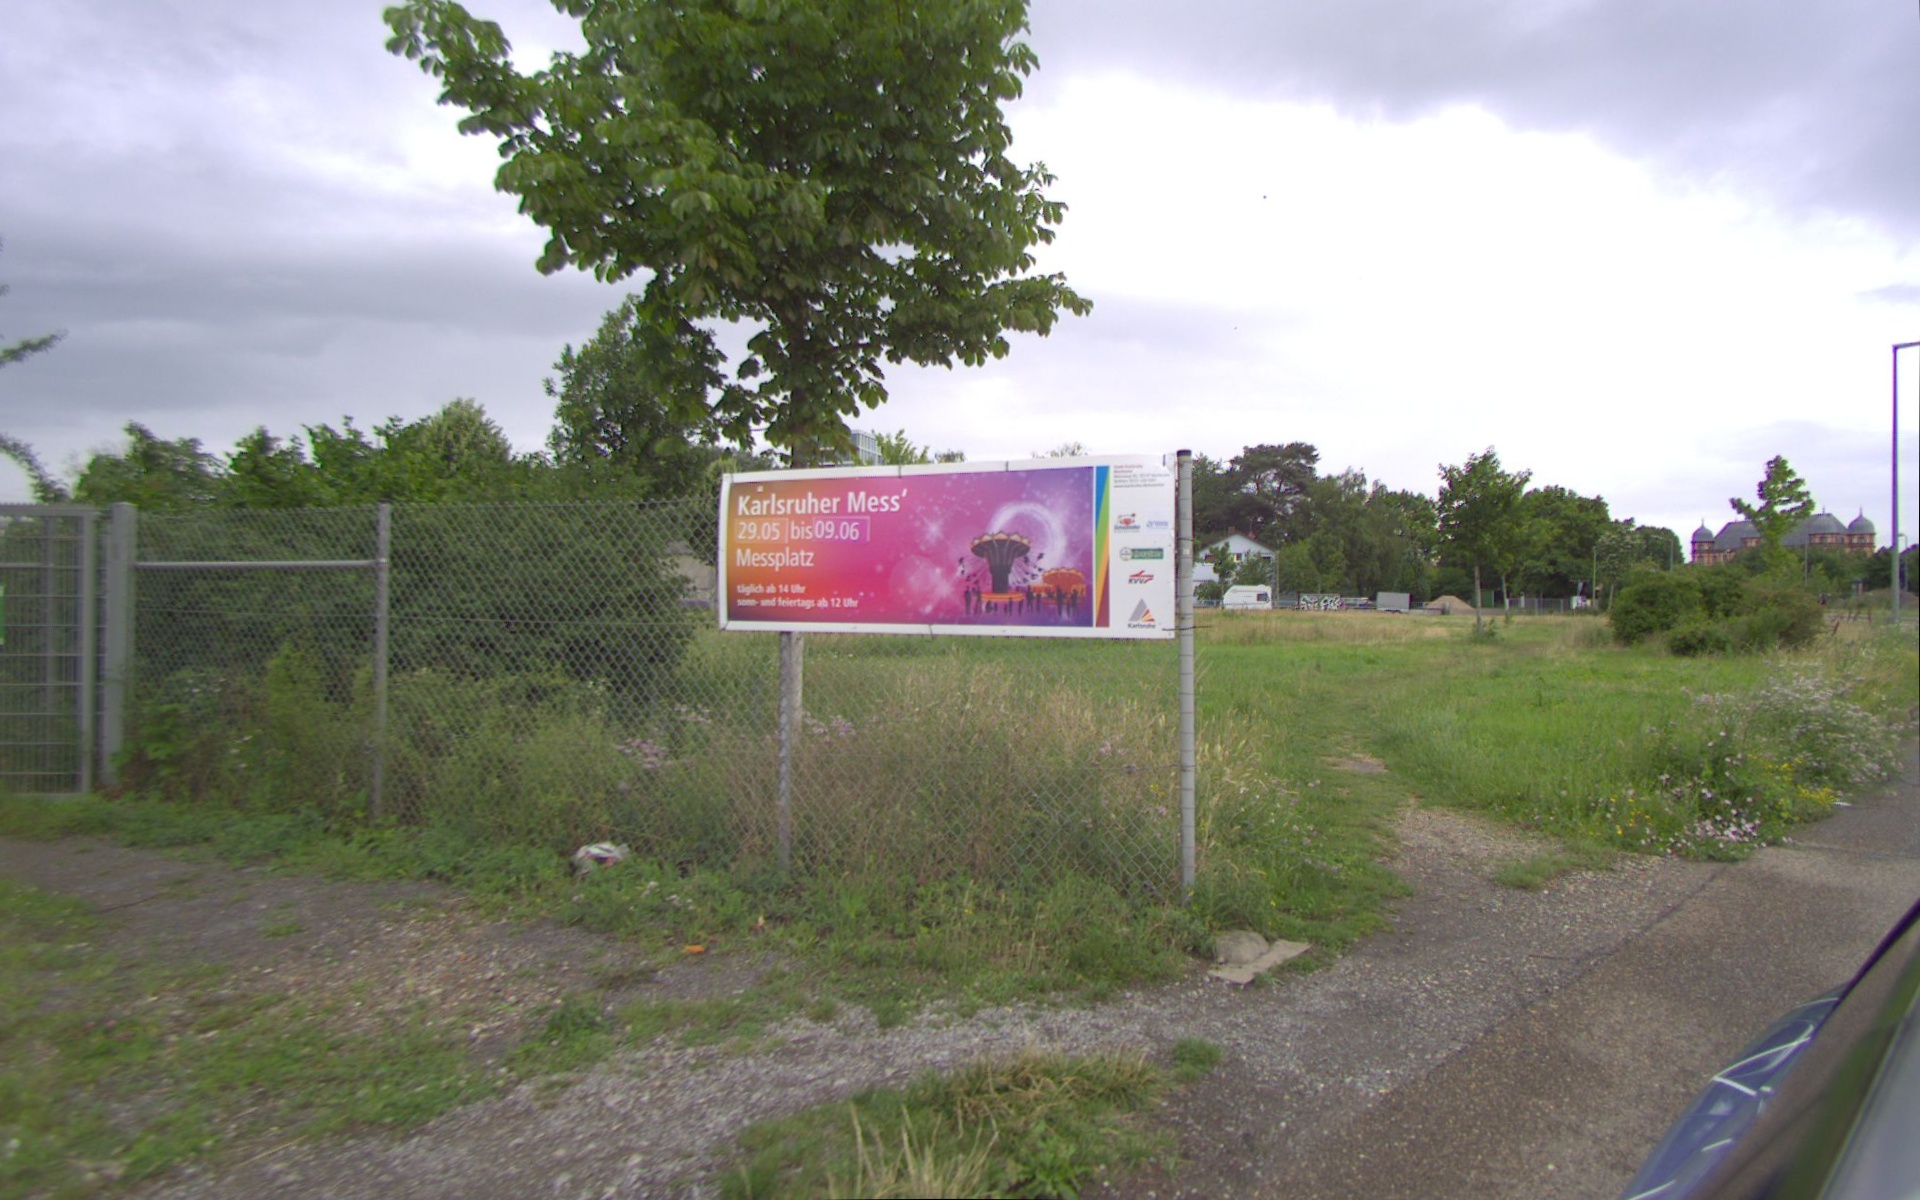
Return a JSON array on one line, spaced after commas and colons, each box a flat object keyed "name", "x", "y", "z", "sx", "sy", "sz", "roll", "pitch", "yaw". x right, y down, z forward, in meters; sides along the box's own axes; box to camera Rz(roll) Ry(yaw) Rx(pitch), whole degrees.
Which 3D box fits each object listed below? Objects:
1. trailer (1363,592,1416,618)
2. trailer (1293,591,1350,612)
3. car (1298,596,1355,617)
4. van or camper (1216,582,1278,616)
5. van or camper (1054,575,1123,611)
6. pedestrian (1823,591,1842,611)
[{"name": "trailer", "x": 36.322, "y": 0.429, "z": 85.594, "sx": 3.946, "sy": 2.039, "sz": 1.634, "roll": 1, "pitch": 0, "yaw": 18}, {"name": "trailer", "x": 28.167, "y": 0.121, "z": 78.923, "sx": 4.062, "sy": 1.552, "sz": 1.749, "roll": 1, "pitch": 0, "yaw": 16}, {"name": "car", "x": 31.366, "y": 0.542, "z": 86.758, "sx": 4.532, "sy": 1.661, "sz": 1.988, "roll": 1, "pitch": 0, "yaw": 18}, {"name": "van or camper", "x": 25.222, "y": -0.111, "z": 89.027, "sx": 5.114, "sy": 2.868, "sz": 2.400, "roll": 1, "pitch": 0, "yaw": 20}, {"name": "van or camper", "x": 11.875, "y": -0.660, "z": 93.439, "sx": 5.991, "sy": 3.151, "sz": 2.259, "roll": 1, "pitch": -1, "yaw": 17}, {"name": "pedestrian", "x": 77.077, "y": 0.080, "z": 89.419, "sx": 0.835, "sy": 1.805, "sz": 1.071, "roll": 1, "pitch": -1, "yaw": 17}]
